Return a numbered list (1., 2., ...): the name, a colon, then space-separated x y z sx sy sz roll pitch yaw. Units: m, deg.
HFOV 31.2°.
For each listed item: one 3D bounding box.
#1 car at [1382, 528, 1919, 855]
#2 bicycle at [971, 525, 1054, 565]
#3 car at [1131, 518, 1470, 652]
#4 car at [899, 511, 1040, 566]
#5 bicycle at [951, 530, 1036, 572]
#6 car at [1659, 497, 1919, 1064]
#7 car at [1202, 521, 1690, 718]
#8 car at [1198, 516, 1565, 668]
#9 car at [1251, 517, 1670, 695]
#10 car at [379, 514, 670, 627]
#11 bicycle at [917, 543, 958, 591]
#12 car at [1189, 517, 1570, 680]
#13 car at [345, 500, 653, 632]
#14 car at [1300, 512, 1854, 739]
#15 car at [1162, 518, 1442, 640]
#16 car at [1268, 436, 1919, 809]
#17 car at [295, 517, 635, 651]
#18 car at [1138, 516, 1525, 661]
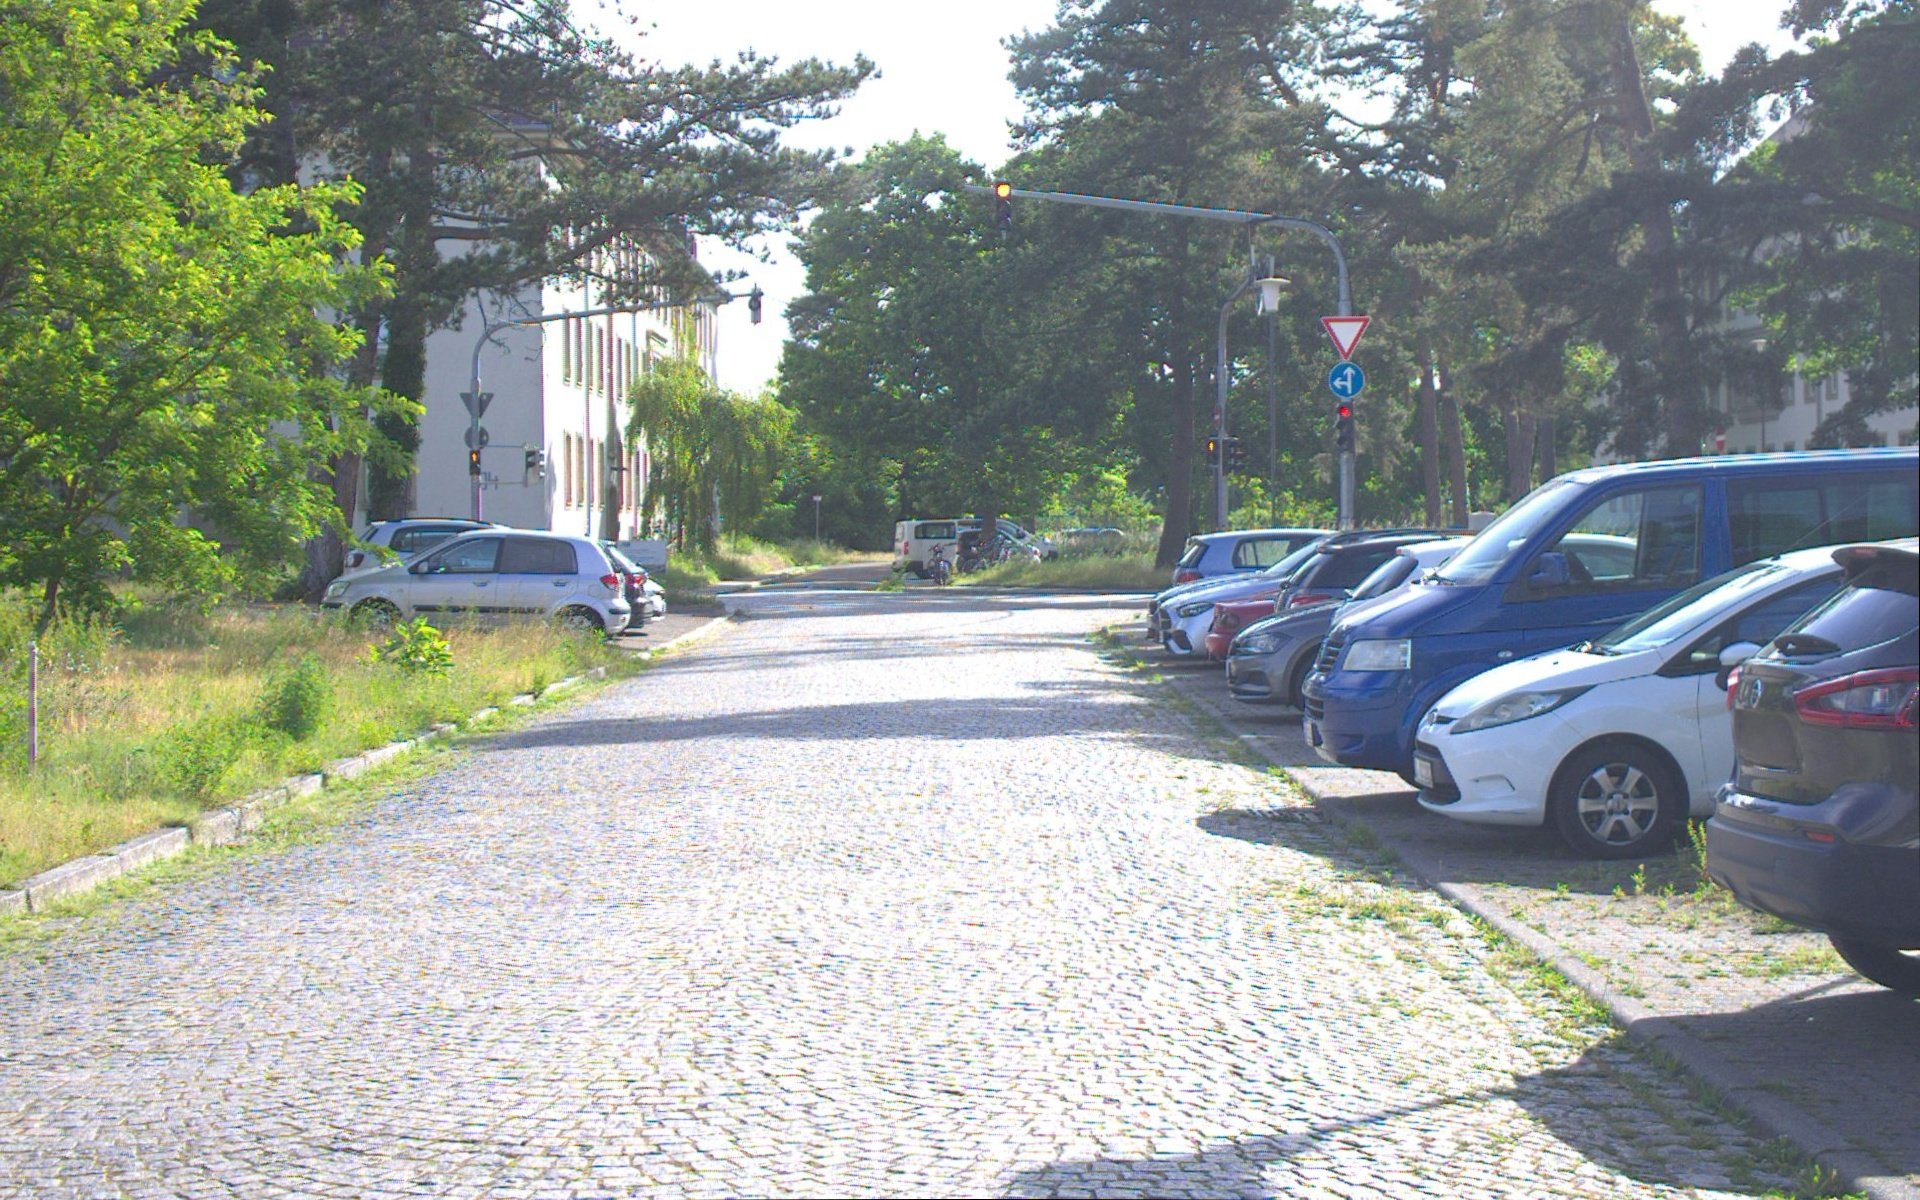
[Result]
1. car: 4.101 0.407 17.155 3.719 1.483 1.646 -1 1 -2
2. bicycle: 1.430 -1.504 93.942 2.172 1.096 0.807 0 1 -10
3. car: 4.004 -0.192 40.816 3.835 1.524 1.646 0 1 -1
4. car: 0.292 -1.962 109.922 4.480 1.722 2.000 0 1 -1
5. bicycle: 0.895 -1.322 92.456 2.172 1.096 0.807 0 1 -10
6. car: 4.343 0.479 10.734 3.935 1.616 1.772 0 1 -1
7. car: 3.887 0.137 27.897 3.675 1.462 1.646 -1 1 -1
8. car: 4.370 -0.098 35.964 3.602 1.524 1.646 0 1 -1
9. car: 4.438 0.031 30.812 3.478 1.524 1.646 0 1 -1
10. car: -6.353 -0.449 50.511 3.987 1.448 2.000 3 1 -1
11. bicycle: -0.587 -0.866 89.009 0.804 1.165 2.181 -2 2 -6
12. car: 4.041 -0.035 33.505 3.478 1.524 1.646 0 1 -1
13. car: -6.410 -0.491 48.109 3.987 1.596 2.000 3 1 -1
14. car: 4.420 0.157 25.007 3.694 1.460 1.645 -2 1 1
15. car: 4.292 -0.282 43.454 3.343 1.477 1.646 0 1 -1
16. car: 4.252 0.086 19.827 4.676 2.007 2.084 0 1 -3
17. car: -6.098 -0.217 42.722 3.986 1.595 2.000 0 1 -3
18. car: 4.072 -0.147 38.044 4.034 1.524 1.646 -1 1 -4
